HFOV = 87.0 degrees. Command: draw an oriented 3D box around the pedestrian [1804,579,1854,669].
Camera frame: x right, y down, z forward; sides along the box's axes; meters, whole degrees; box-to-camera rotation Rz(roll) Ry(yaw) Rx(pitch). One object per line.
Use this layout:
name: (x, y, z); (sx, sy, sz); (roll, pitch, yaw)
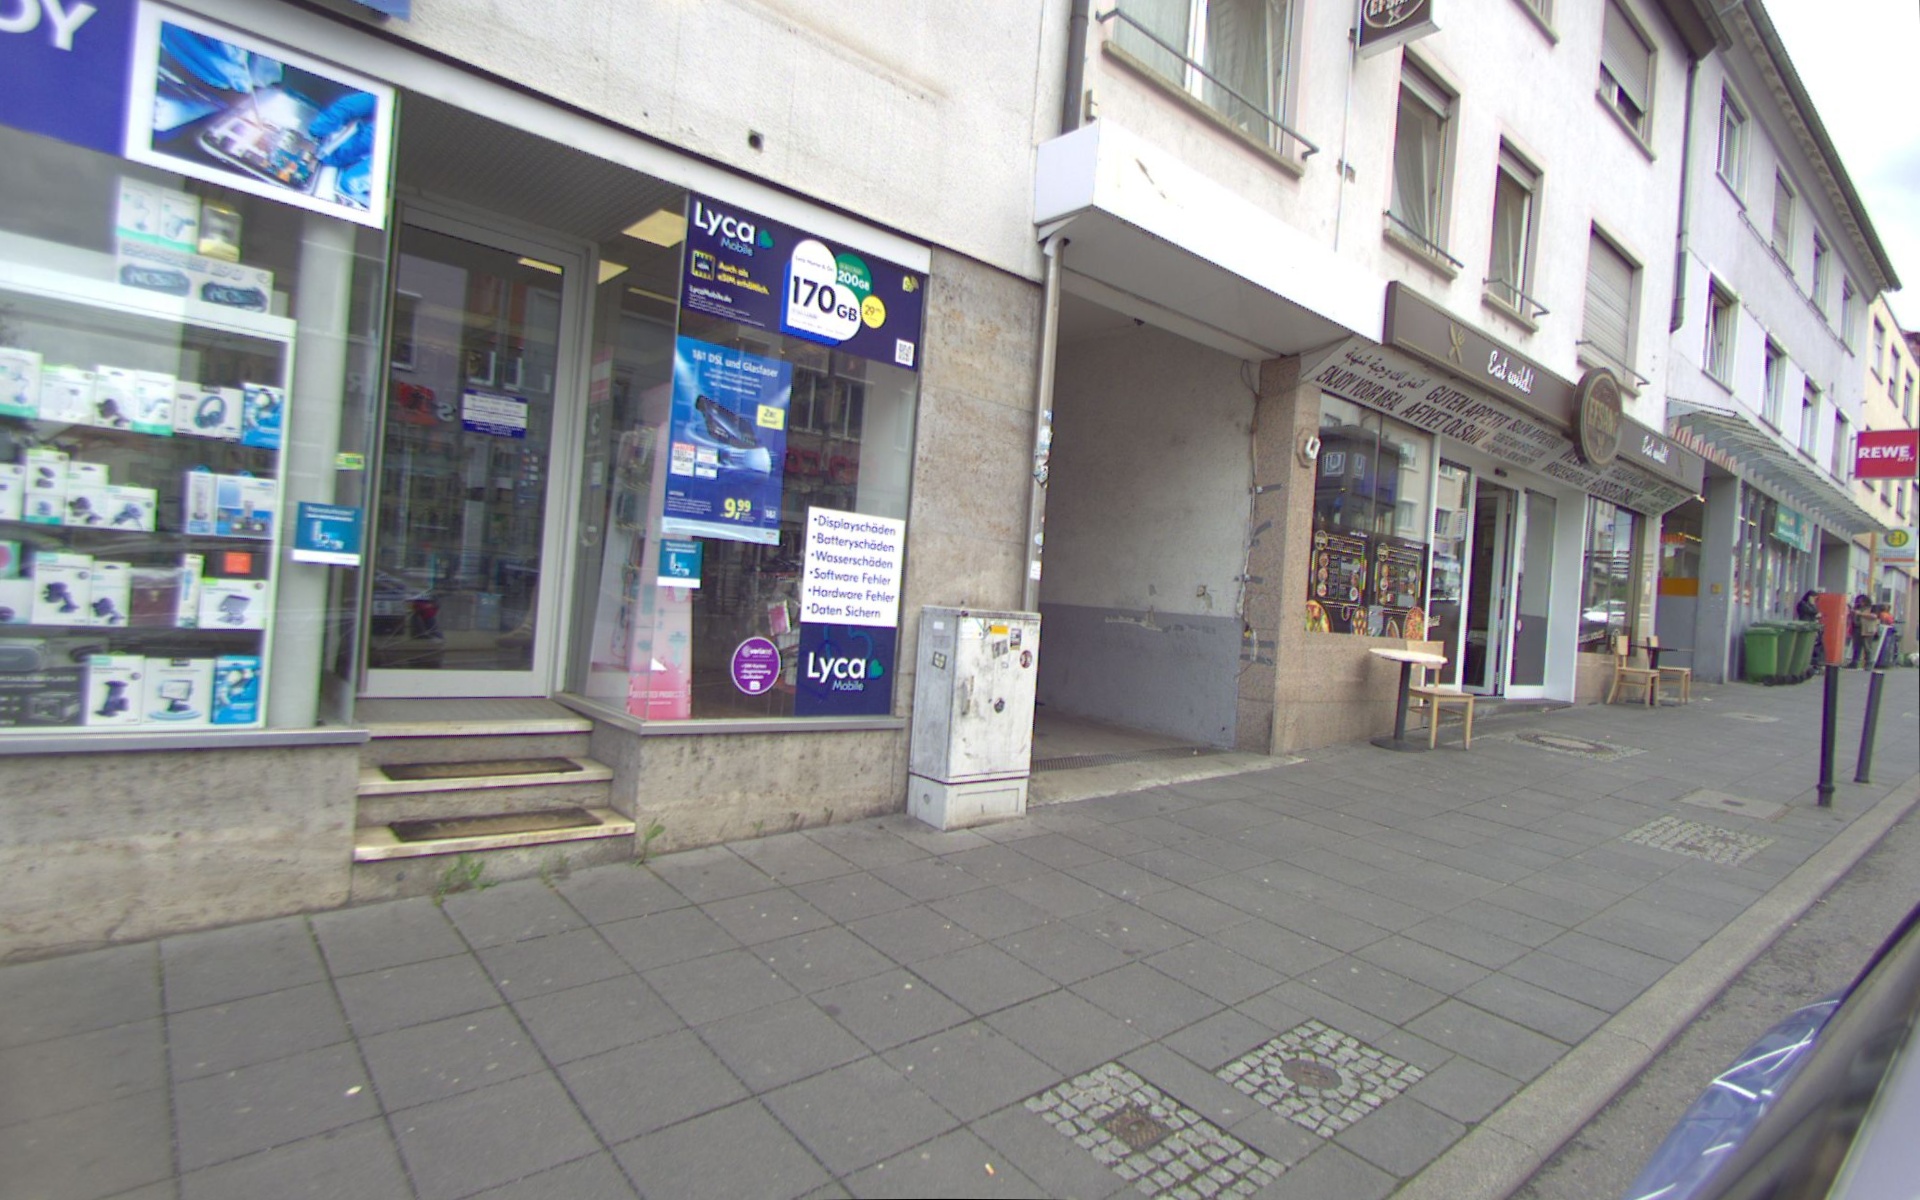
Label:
pedestrian: (17.254, 0.459, 20.113); (0.621, 1.747, 0.601); (0, 0, 27)

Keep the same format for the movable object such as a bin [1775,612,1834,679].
movable object such as a bin: (14.726, 0.775, 17.642); (0.661, 1.094, 0.652); (1, 2, -40)

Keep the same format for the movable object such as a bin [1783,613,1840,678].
movable object such as a bin: (15.253, 0.803, 18.128); (0.648, 1.094, 0.652); (1, 2, -40)

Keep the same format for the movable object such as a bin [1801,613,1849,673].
movable object such as a bin: (16.167, 0.791, 18.915); (0.549, 1.070, 0.560); (1, 2, -40)

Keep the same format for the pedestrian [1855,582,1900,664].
pedestrian: (20.463, 0.498, 22.575); (0.626, 1.746, 0.597); (5, 4, 44)

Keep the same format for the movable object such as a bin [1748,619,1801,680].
movable object such as a bin: (13.667, 0.813, 16.984); (0.489, 0.968, 0.568); (1, 2, -40)

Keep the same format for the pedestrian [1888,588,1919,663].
pedestrian: (23.447, 0.617, 24.939); (0.619, 1.845, 0.604); (0, 0, 15)

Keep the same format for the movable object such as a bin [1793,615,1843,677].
movable object such as a bin: (15.724, 0.834, 18.550); (0.564, 1.072, 0.569); (1, 2, -40)

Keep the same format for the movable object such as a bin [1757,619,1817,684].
movable object such as a bin: (14.142, 0.871, 17.314); (0.550, 1.043, 0.670); (1, 2, -40)

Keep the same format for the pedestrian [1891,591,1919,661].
pedestrian: (24.039, 0.653, 25.542); (0.599, 1.747, 0.623); (0, 0, 20)
